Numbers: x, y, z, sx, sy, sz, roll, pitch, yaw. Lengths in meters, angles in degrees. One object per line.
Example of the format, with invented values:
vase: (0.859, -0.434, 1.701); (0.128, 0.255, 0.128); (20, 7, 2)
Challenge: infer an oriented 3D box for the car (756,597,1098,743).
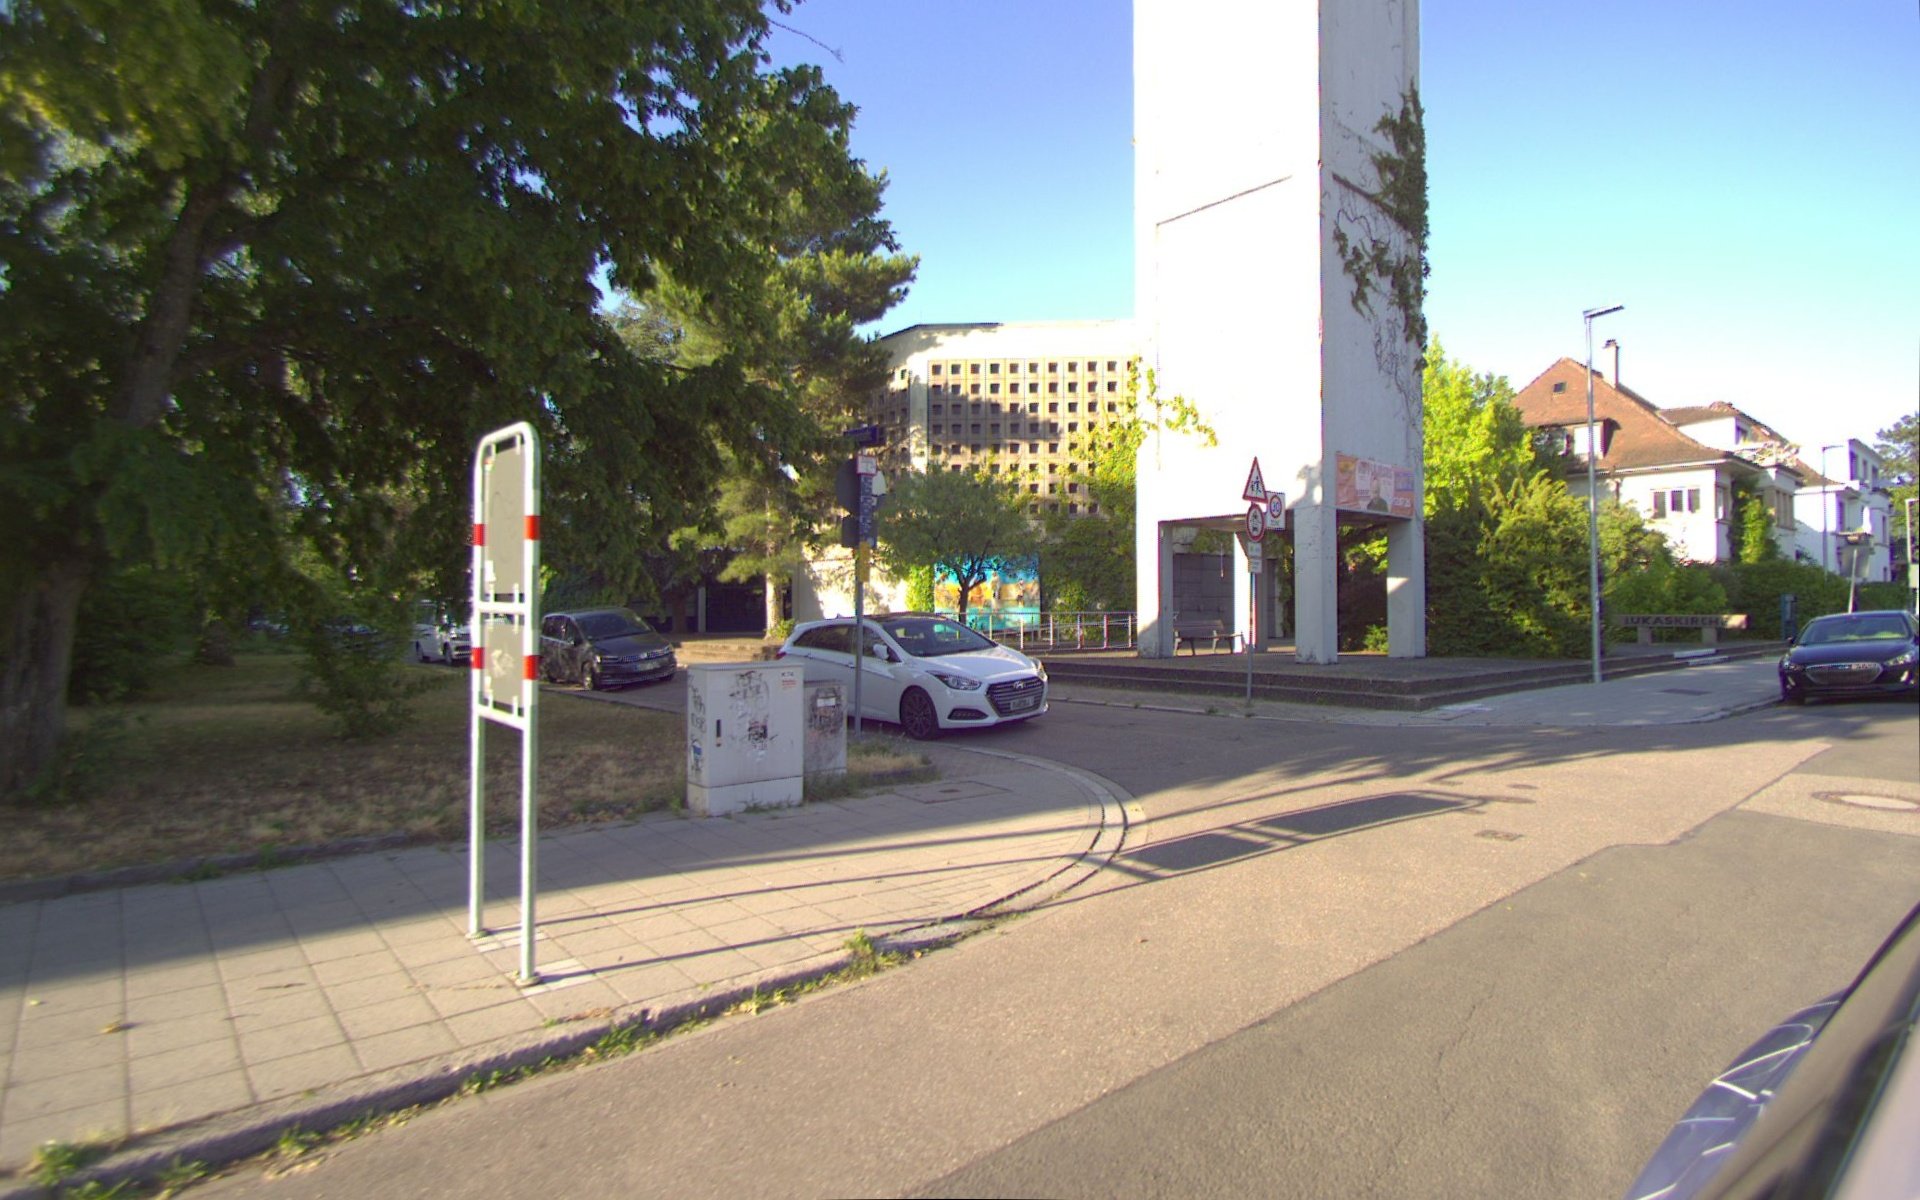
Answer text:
car: (-0.649, 0.829, 13.733); (1.969, 1.504, 4.854); (-5, 2, -41)

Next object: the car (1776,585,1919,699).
car: (15.281, 0.660, 16.723); (4.539, 1.582, 1.824); (0, -7, -40)

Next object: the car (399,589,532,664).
car: (-15.118, 0.750, 30.782); (2.139, 1.997, 5.005); (-4, 2, -44)

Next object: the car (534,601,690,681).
car: (-7.577, 0.837, 21.778); (1.963, 1.529, 4.125); (0, -1, -38)

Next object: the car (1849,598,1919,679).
car: (20.164, 0.774, 21.155); (4.100, 1.548, 1.689); (1, -5, -41)
